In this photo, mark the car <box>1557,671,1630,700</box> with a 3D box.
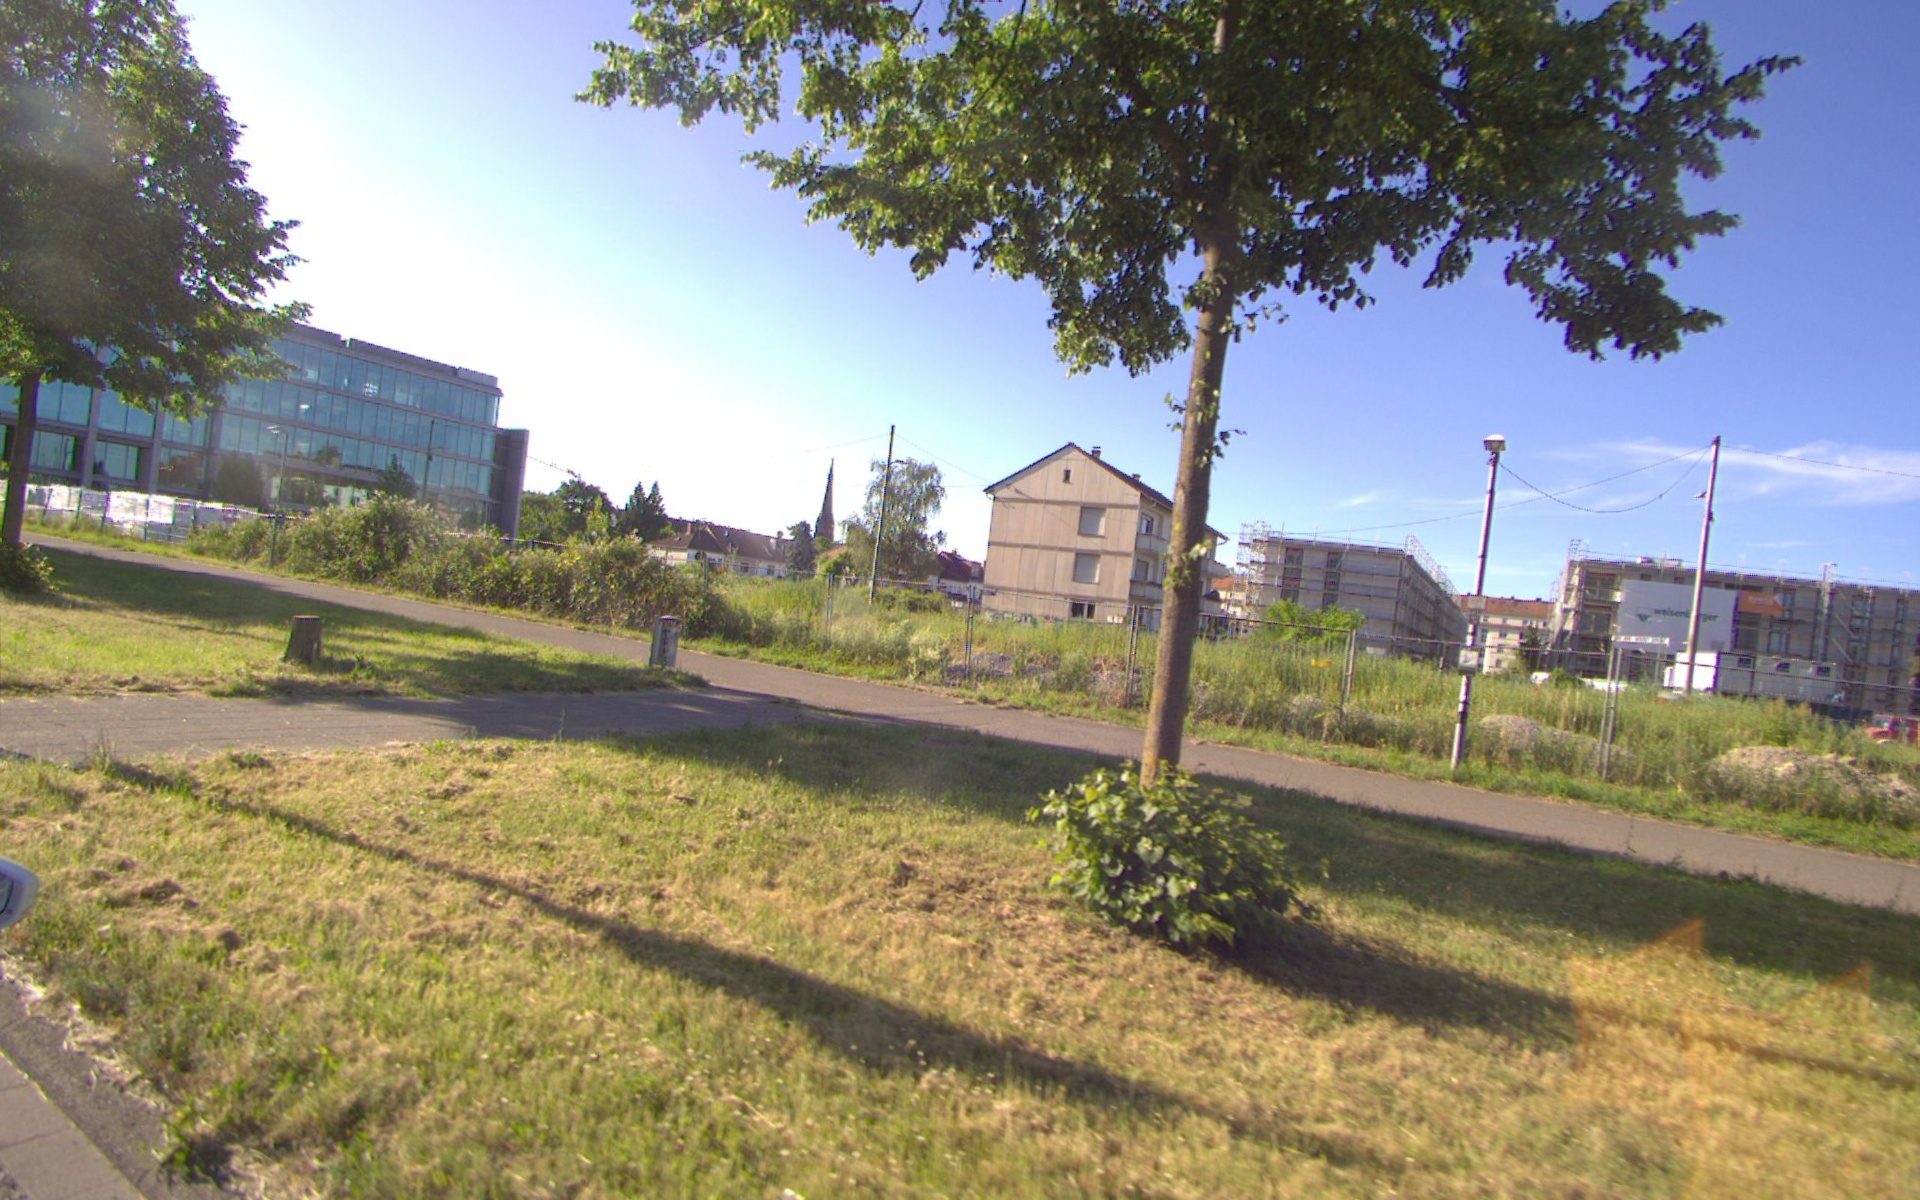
[{"bbox_3d":[45.256,6.092,71.929,3.924,1.637,1.834,5,-2,16],"label":"car"}]

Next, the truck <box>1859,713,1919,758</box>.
[{"bbox_3d":[51.515,7.425,53.908,4.351,2.038,2.000,7,0,21],"label":"truck"}]
